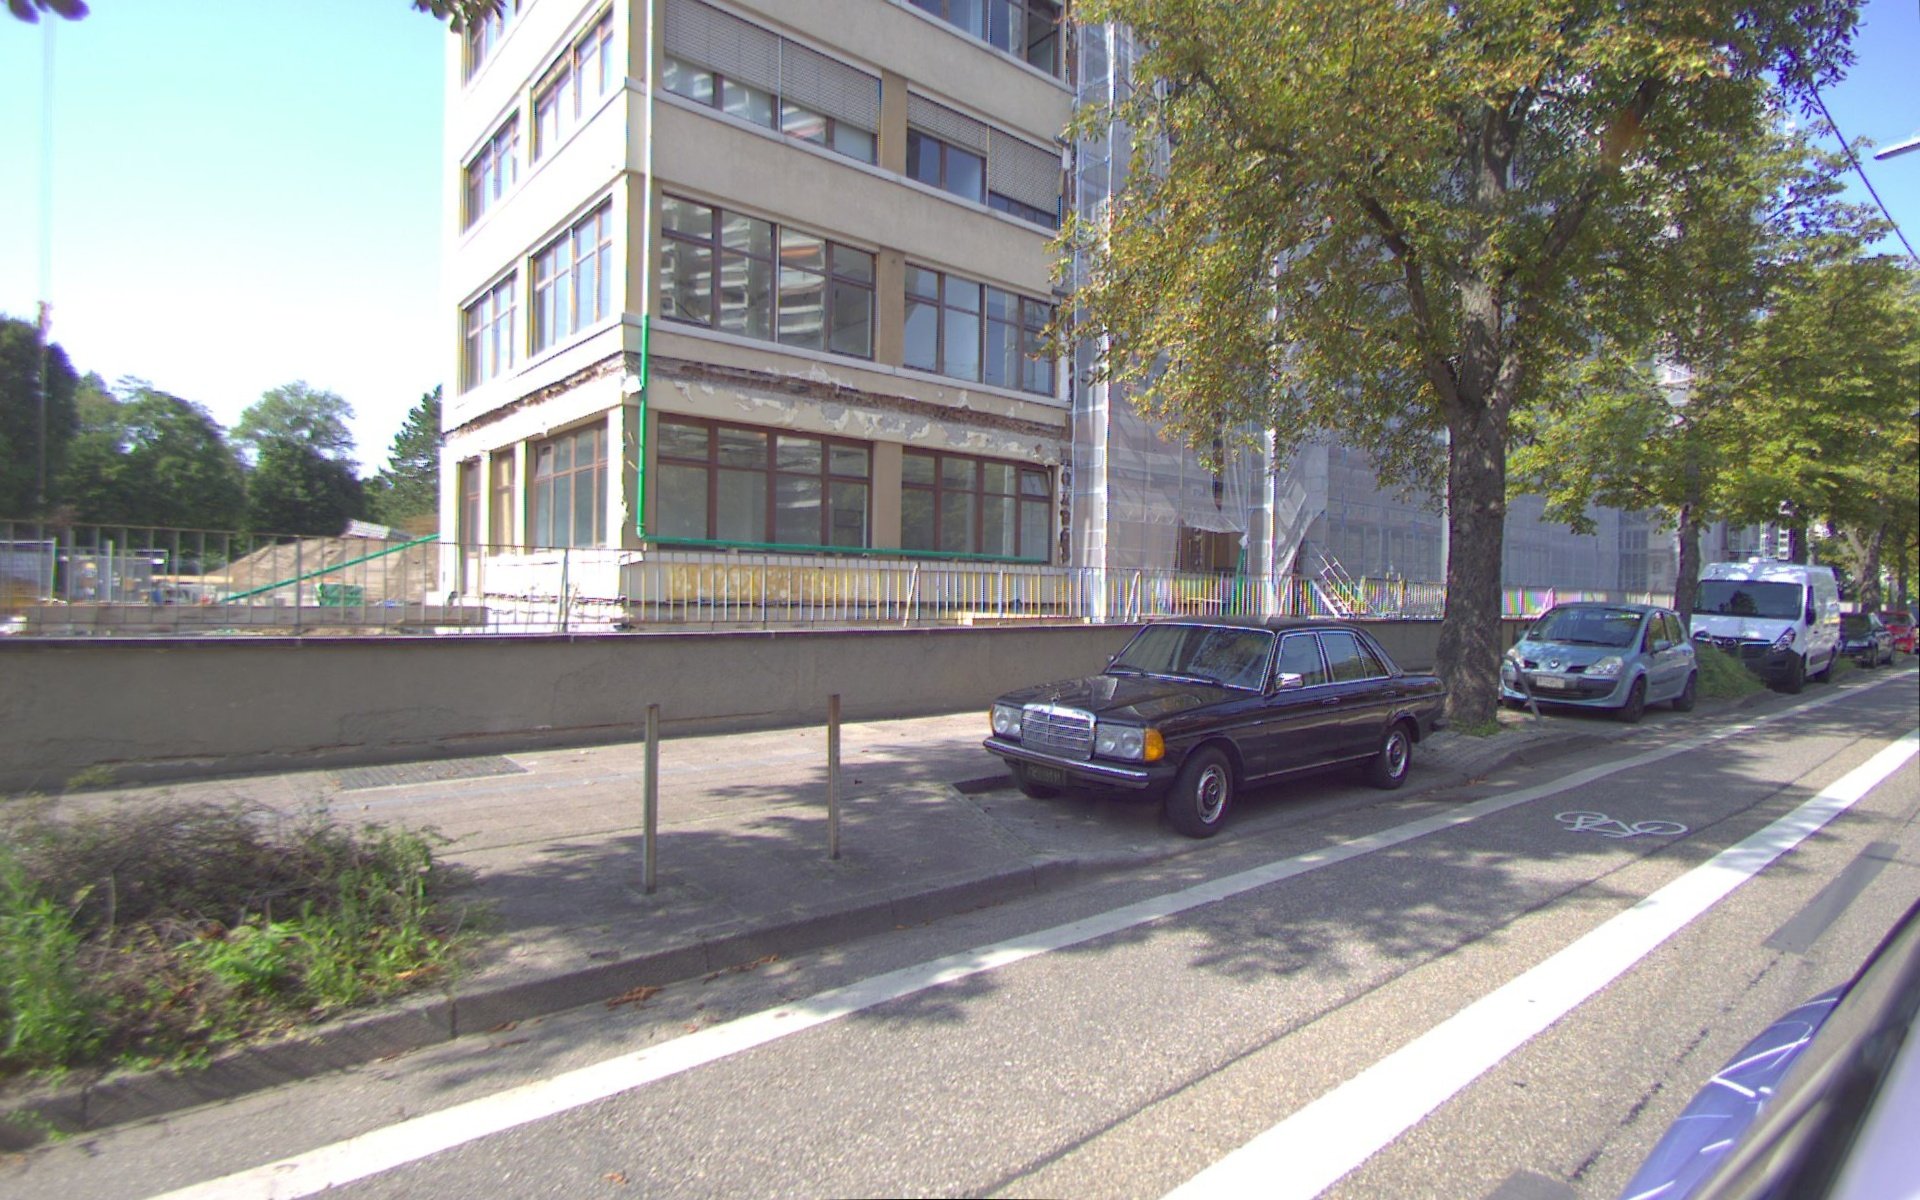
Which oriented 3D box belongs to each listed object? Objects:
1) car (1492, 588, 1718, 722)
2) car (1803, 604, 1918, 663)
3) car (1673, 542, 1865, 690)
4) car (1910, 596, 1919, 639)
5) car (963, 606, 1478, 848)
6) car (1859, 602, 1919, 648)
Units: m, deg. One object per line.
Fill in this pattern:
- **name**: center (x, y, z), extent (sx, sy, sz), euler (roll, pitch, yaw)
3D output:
- **car**: center (9.384, 0.712, 14.626), extent (3.808, 1.637, 1.668), euler (1, 1, -40)
- **car**: center (24.165, 0.838, 27.106), extent (4.741, 1.391, 1.620), euler (0, 1, -40)
- **car**: center (16.597, 0.250, 20.642), extent (5.407, 2.583, 2.087), euler (0, 4, -42)
- **car**: center (39.643, 0.723, 40.711), extent (4.321, 1.713, 1.755), euler (1, -1, -43)
- **car**: center (2.361, 0.792, 8.355), extent (4.635, 1.394, 1.757), euler (0, 2, -41)
- **car**: center (31.764, 0.815, 34.134), extent (3.929, 1.431, 1.620), euler (0, 1, -40)
